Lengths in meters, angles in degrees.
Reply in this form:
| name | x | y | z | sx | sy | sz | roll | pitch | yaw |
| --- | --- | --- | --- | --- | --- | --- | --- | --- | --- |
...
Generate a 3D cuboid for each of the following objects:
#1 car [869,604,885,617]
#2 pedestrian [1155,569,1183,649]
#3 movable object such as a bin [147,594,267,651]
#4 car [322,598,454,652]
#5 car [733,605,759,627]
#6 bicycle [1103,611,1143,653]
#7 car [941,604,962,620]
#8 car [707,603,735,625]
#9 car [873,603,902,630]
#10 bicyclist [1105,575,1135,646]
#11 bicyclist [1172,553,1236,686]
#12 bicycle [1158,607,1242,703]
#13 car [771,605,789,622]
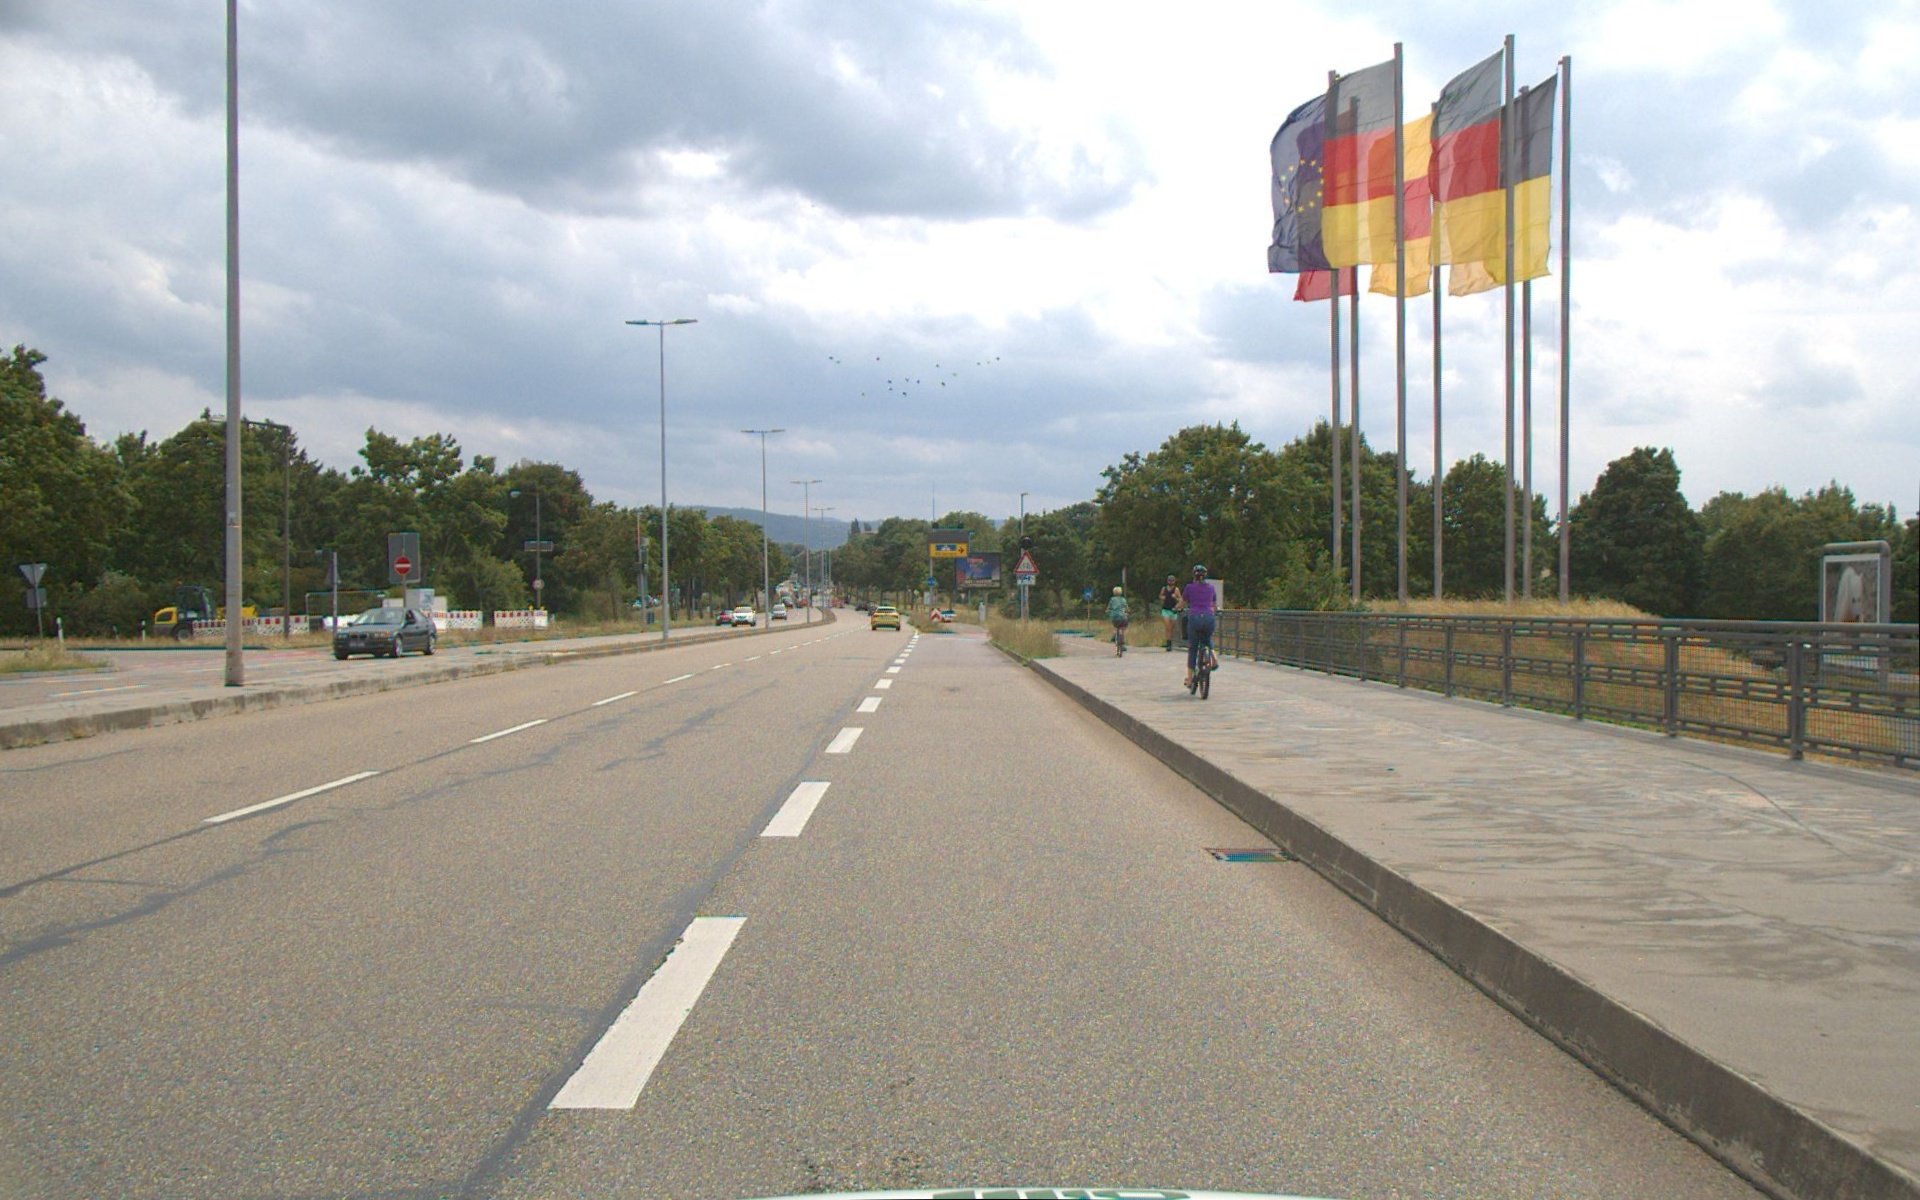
| name | x | y | z | sx | sy | sz | roll | pitch | yaw |
| --- | --- | --- | --- | --- | --- | --- | --- | --- | --- |
| car | -11.384 | 1.438 | 225.629 | 2.162 | 1.713 | 3.998 | 0 | 1 | -3 |
| pedestrian | 5.416 | 0.218 | 42.893 | 0.614 | 2.049 | 0.668 | 0 | 1 | -1 |
| movable object such as a bin | -33.143 | 0.989 | 72.925 | 4.498 | 2.439 | 1.994 | 0 | 1 | -13 |
| car | -16.058 | 0.688 | 46.700 | 1.952 | 1.397 | 4.578 | -1 | 0 | 2 |
| car | -17.514 | 1.318 | 135.547 | 1.660 | 1.657 | 4.383 | 0 | 1 | -1 |
| bicycle | 3.850 | 0.743 | 39.178 | 0.611 | 0.904 | 2.153 | 0 | 1 | -3 |
| car | -0.893 | 1.271 | 176.641 | 1.974 | 1.699 | 3.997 | 0 | 1 | -4 |
| car | -22.312 | 1.313 | 154.590 | 1.954 | 1.914 | 3.999 | 4 | -1 | -1 |
| car | -4.538 | 1.014 | 103.020 | 1.758 | 1.589 | 3.997 | 0 | 1 | -4 |
| bicyclist | 3.834 | 0.247 | 39.594 | 0.609 | 1.695 | 0.669 | 0 | 1 | -3 |
| bicyclist | 3.323 | 0.255 | 22.591 | 0.689 | 1.786 | 0.991 | 0 | 0 | -3 |
| bicycle | 3.305 | 0.726 | 22.964 | 0.680 | 1.213 | 2.460 | -1 | 0 | -3 |
| car | -21.275 | 1.570 | 195.869 | 1.864 | 1.841 | 4.537 | 0 | 1 | -3 |
